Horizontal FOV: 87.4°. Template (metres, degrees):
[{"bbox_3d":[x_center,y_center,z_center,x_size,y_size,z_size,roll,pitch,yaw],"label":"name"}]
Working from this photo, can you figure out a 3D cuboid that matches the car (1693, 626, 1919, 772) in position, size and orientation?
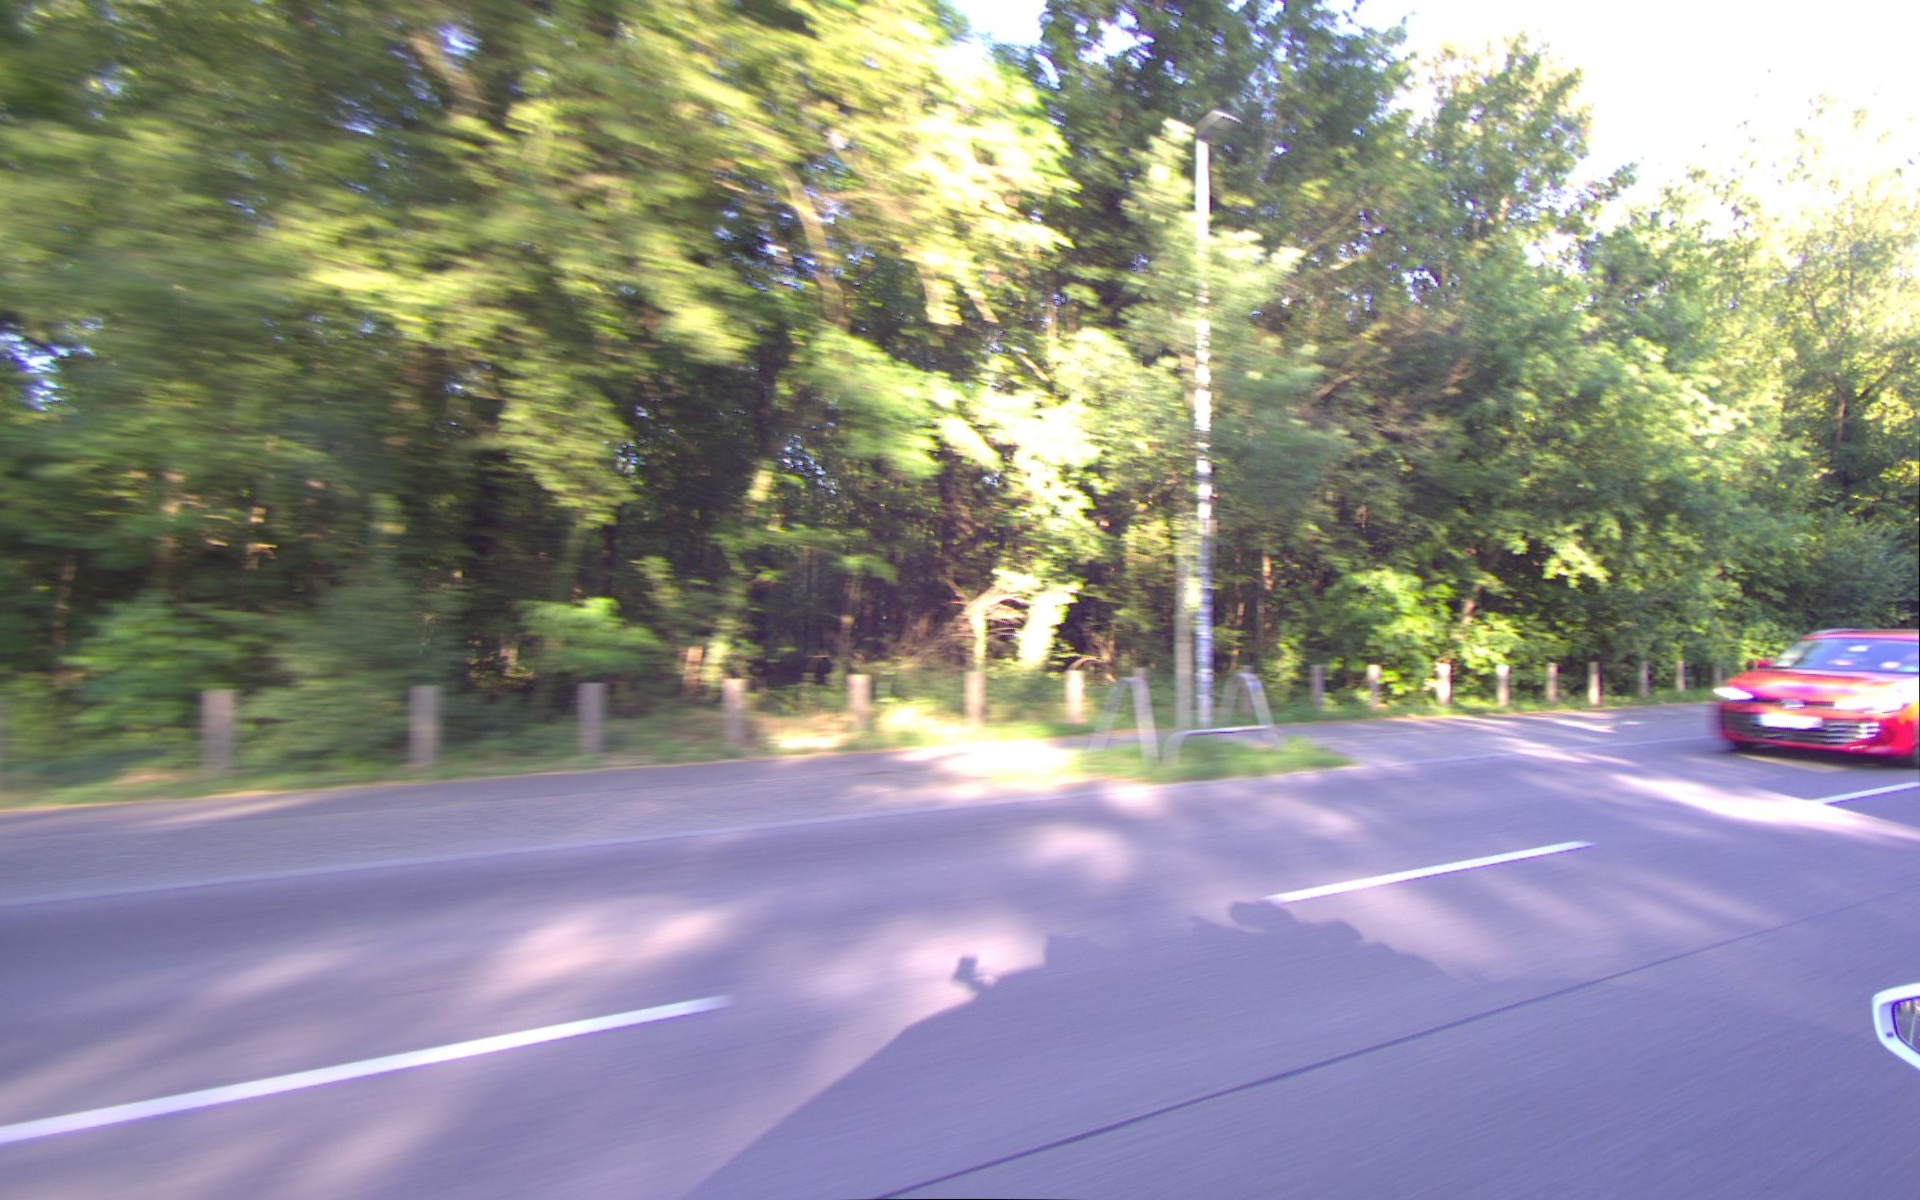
[{"bbox_3d":[11.190,1.069,12.263,4.866,1.482,1.815,1,-2,-30],"label":"car"}]
